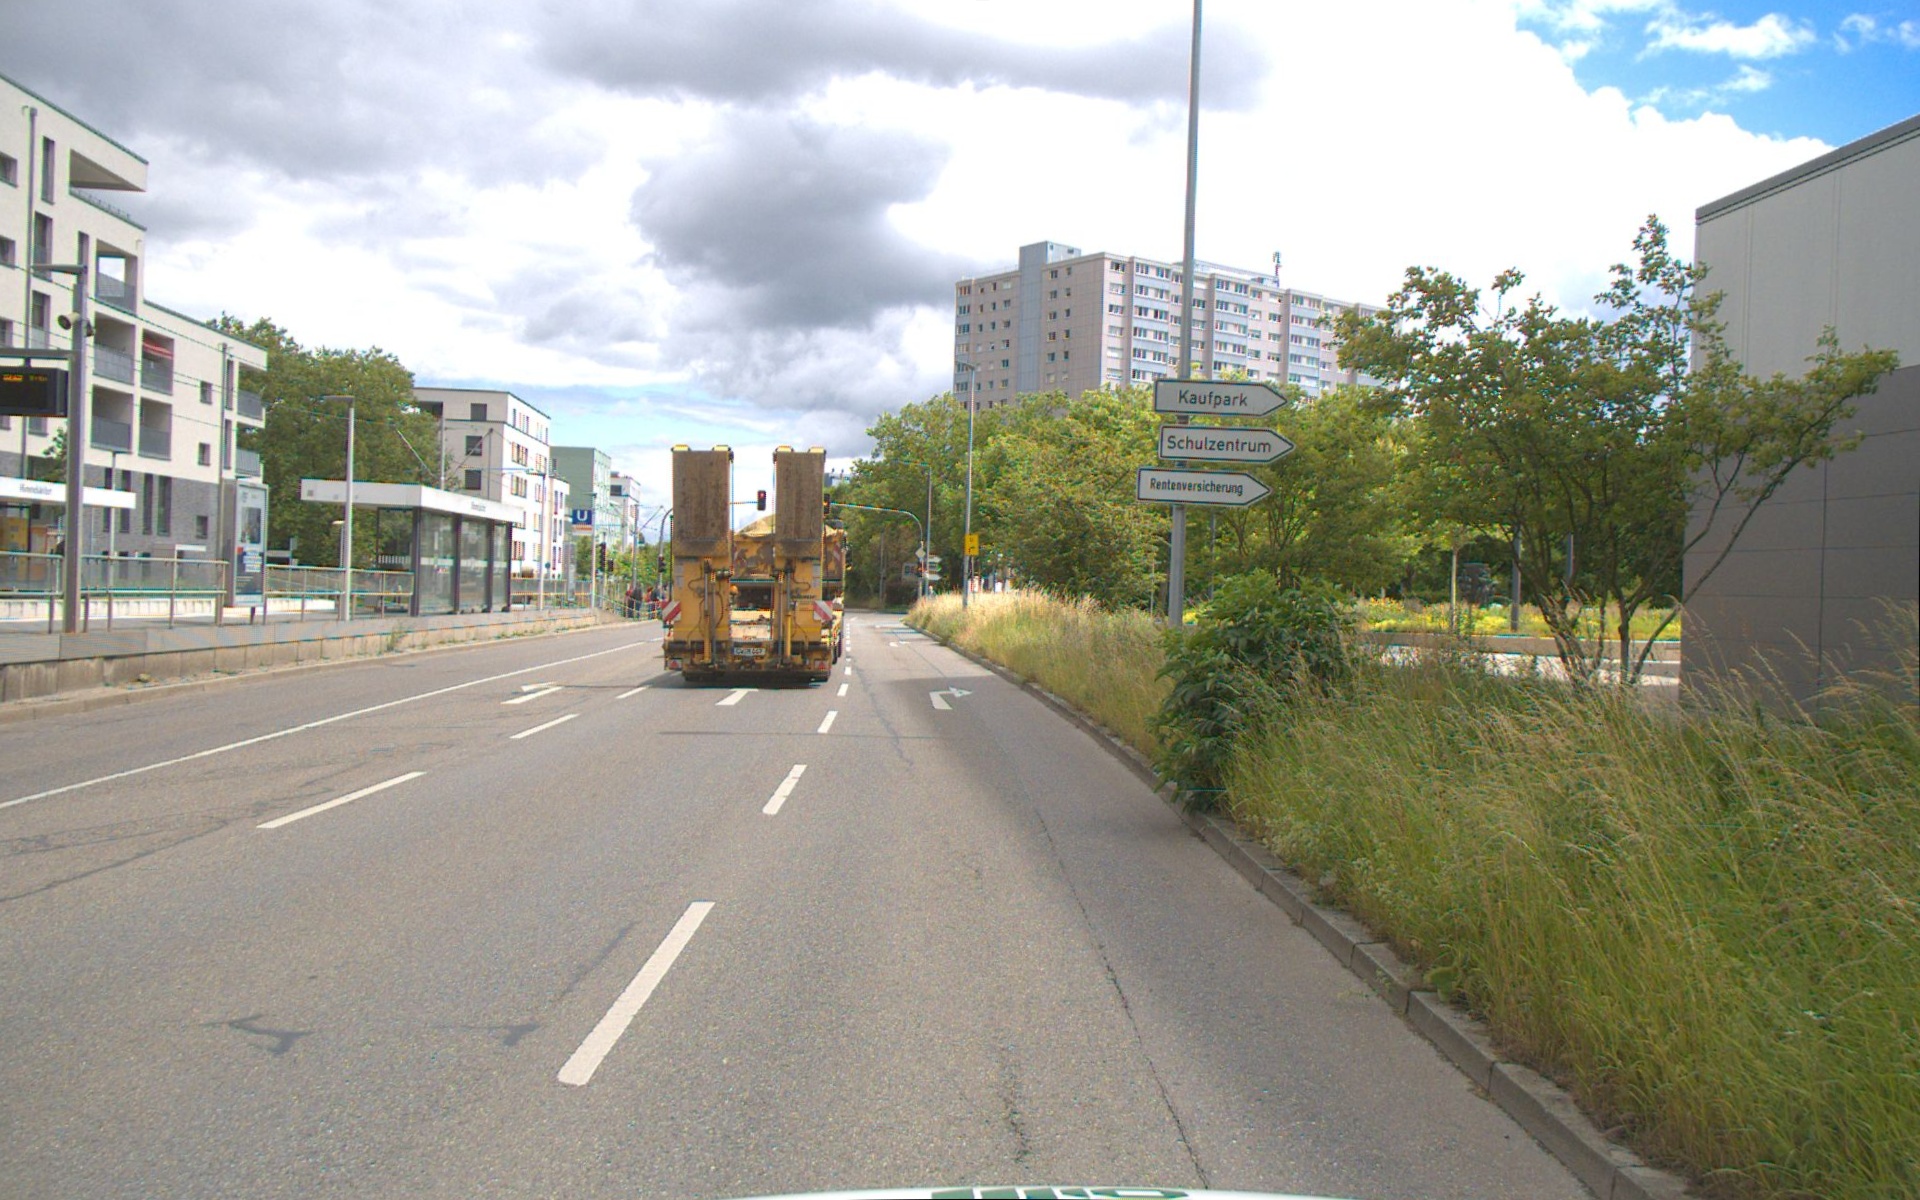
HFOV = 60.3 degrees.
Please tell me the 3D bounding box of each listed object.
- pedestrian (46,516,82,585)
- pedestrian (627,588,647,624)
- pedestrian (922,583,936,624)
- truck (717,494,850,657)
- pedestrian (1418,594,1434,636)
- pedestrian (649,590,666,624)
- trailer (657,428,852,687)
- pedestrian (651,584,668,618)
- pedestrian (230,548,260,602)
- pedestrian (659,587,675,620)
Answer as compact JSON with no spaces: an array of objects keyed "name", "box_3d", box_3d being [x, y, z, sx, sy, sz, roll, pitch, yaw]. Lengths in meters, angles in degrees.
[{"name":"pedestrian","box_3d":[-23.730,-1.305,43.830,0.550,1.796,0.677,2,0,-2]},{"name":"pedestrian","box_3d":[-15.399,0.284,78.762,0.804,1.698,0.683,2,0,-3]},{"name":"pedestrian","box_3d":[-1.557,0.184,83.206,0.551,2.049,0.490,2,-1,-13]},{"name":"truck","box_3d":[-4.023,-0.528,39.085,2.699,3.371,8.344,2,0,-4]},{"name":"pedestrian","box_3d":[22.233,0.692,78.930,0.564,1.985,0.405,2,0,-4]},{"name":"pedestrian","box_3d":[-14.619,0.348,79.930,0.668,1.631,0.822,2,0,-5]},{"name":"trailer","box_3d":[-3.315,-0.620,29.286,2.675,3.621,11.244,2,0,-4]},{"name":"pedestrian","box_3d":[-14.678,0.026,80.794,0.668,1.631,0.822,2,0,-5]},{"name":"pedestrian","box_3d":[-24.393,-0.845,56.417,0.662,1.796,0.932,2,0,-7]},{"name":"pedestrian","box_3d":[-14.662,0.186,82.775,0.668,1.631,0.822,2,0,-5]}]
